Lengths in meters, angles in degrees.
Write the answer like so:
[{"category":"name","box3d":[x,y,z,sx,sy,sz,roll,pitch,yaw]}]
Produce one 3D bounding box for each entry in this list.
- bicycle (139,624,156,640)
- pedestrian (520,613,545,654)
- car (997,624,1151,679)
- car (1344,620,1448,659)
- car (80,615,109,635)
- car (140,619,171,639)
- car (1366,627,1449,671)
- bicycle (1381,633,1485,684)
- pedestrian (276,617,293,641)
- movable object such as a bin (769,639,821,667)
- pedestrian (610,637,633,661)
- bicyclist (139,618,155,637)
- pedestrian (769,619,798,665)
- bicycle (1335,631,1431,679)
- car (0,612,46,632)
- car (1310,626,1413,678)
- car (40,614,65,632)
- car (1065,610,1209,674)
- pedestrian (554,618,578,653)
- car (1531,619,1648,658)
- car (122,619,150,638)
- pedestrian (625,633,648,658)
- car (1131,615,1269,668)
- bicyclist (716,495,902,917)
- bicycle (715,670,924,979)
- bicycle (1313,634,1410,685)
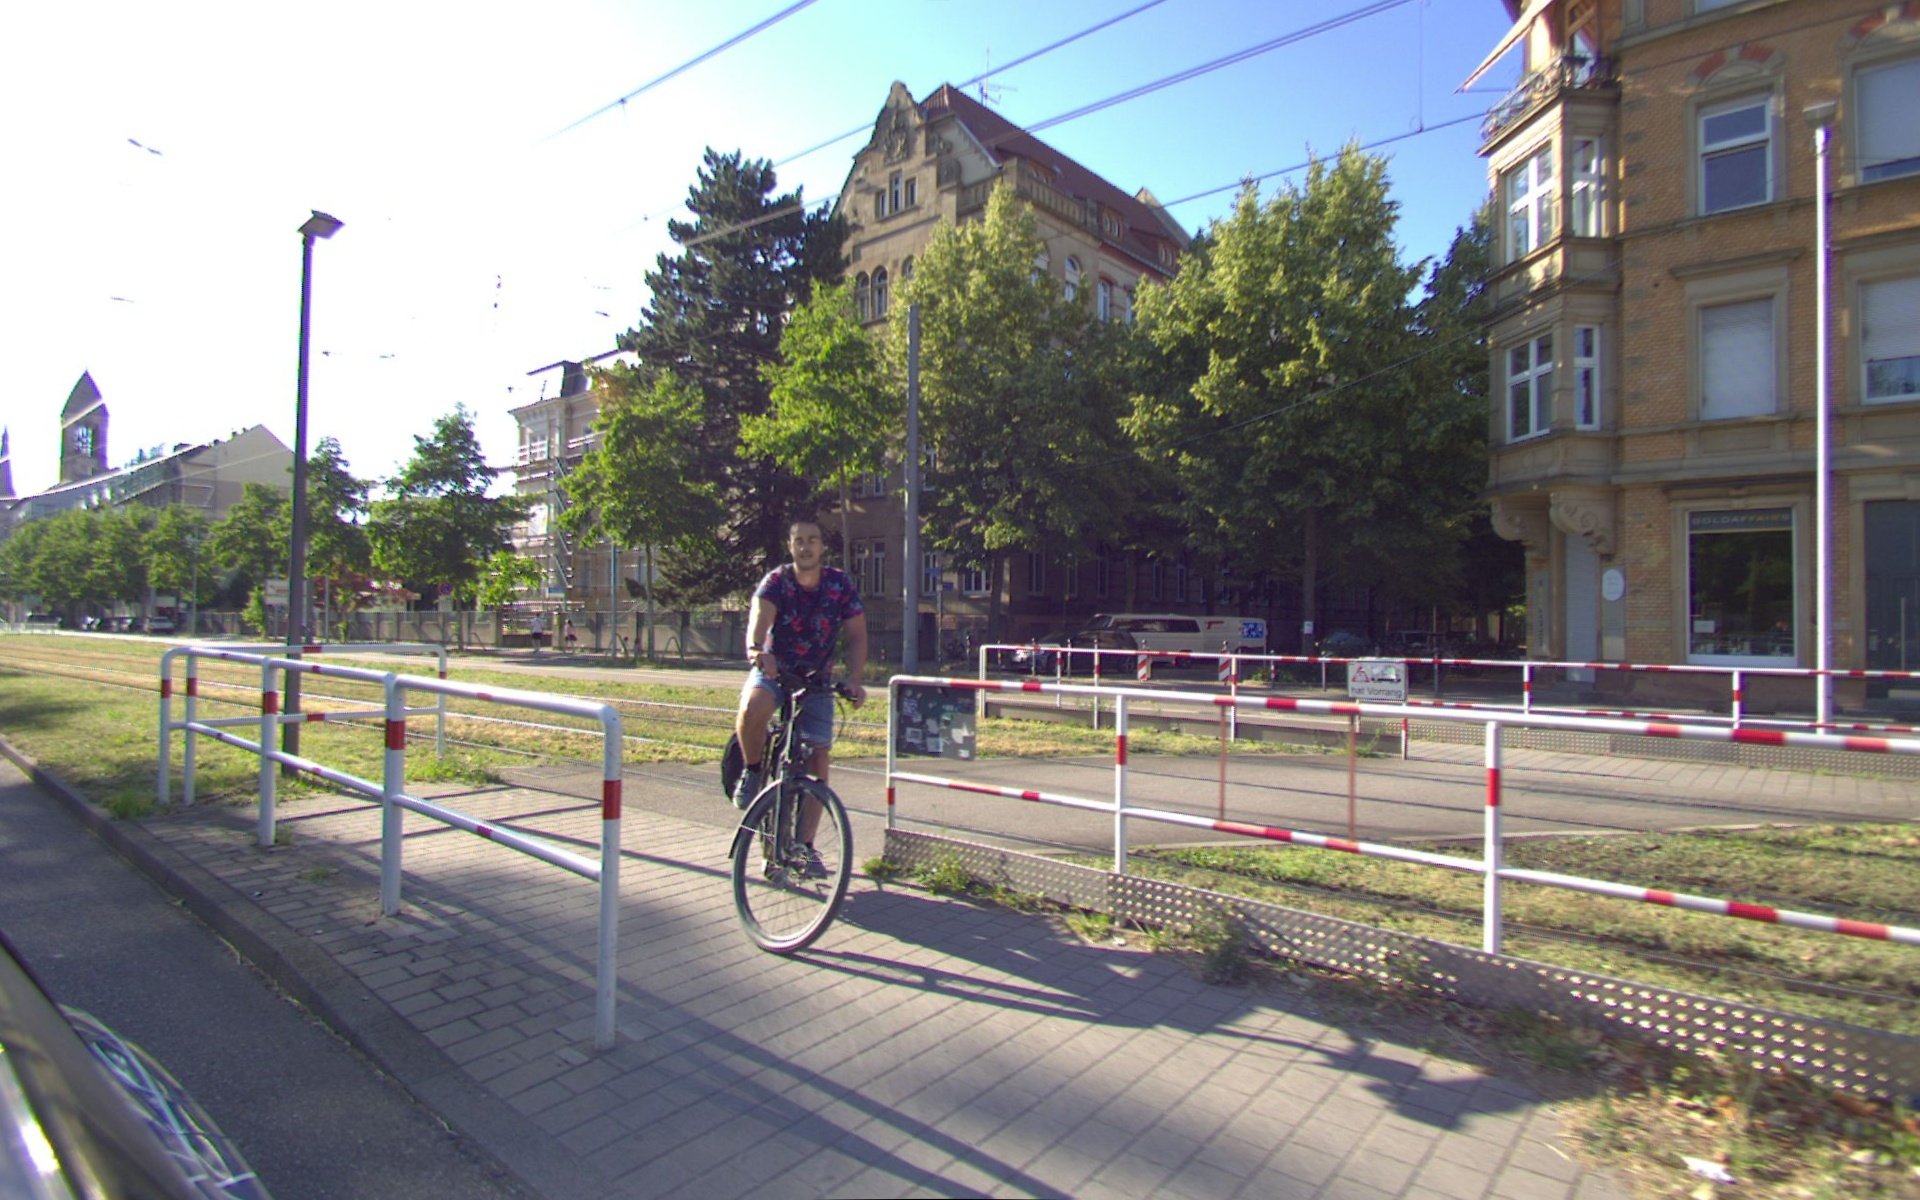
[{"category":"bicycle","box3d":[-63.684,2.518,79.295,1.755,1.202,0.766,-1,0,41]},{"category":"pedestrian","box3d":[-19.065,1.487,45.155,0.888,1.789,0.643,-1,-3,40]},{"category":"car","box3d":[3.393,1.497,30.378,4.119,1.482,2.006,0,0,-20]},{"category":"car","box3d":[23.311,2.103,54.287,4.977,1.932,2.052,-1,0,23]},{"category":"car","box3d":[-92.794,2.622,108.447,4.001,2.029,1.972,-1,0,43]},{"category":"car","box3d":[-69.402,2.489,87.249,1.701,1.598,4.068,-1,0,-44]},{"category":"car","box3d":[17.487,1.860,39.432,1.998,1.482,4.138,0,0,38]},{"category":"bicycle","box3d":[11.873,1.447,25.447,2.240,1.188,0.776,-1,0,43]},{"category":"pedestrian","box3d":[-48.626,2.096,72.852,0.811,1.660,0.718,0,-3,35]},{"category":"movable object such as a bin","box3d":[-5.617,1.789,34.494,1.236,0.871,1.232,0,0,39]},{"category":"pedestrian","box3d":[-13.387,1.935,39.993,0.642,0.939,0.586,3,-3,-43]},{"category":"bicyclist","box3d":[-63.685,2.165,79.295,1.133,1.492,0.766,-1,0,41]},{"category":"pedestrian","box3d":[-6.175,1.461,35.472,0.797,1.605,0.612,-1,0,40]},{"category":"bicycle","box3d":[11.258,1.452,26.990,2.238,1.188,0.777,-1,0,40]},{"category":"car","box3d":[-94.829,2.208,102.369,4.450,1.933,1.927,0,-4,27]},{"category":"car","box3d":[13.034,1.627,32.727,1.998,1.482,4.138,0,0,38]},{"category":"car","box3d":[-114.800,2.937,127.979,3.783,2.183,1.920,-1,0,41]},{"category":"car","box3d":[6.180,1.428,35.347,4.534,2.029,2.006,-1,0,-20]},{"category":"pedestrian","box3d":[-17.747,1.609,45.581,0.783,1.551,0.643,-1,-3,40]},{"category":"car","box3d":[32.819,1.963,52.843,5.004,1.932,2.041,-1,0,39]},{"category":"car","box3d":[-76.844,2.648,94.380,1.701,1.598,4.068,-1,0,-44]},{"category":"pedestrian","box3d":[-12.402,1.745,38.828,0.642,0.939,0.586,3,-3,-43]},{"category":"car","box3d":[9.403,1.624,39.942,4.940,1.932,2.067,-1,0,1]},{"category":"bicyclist","box3d":[-0.731,0.447,4.699,0.754,1.728,0.925,1,-2,-14]},{"category":"bicycle","box3d":[-0.745,0.891,4.742,0.754,1.048,1.964,1,-2,-14]},{"category":"bicycle","box3d":[10.346,1.507,26.164,0.775,1.188,2.245,-1,0,-37]}]
